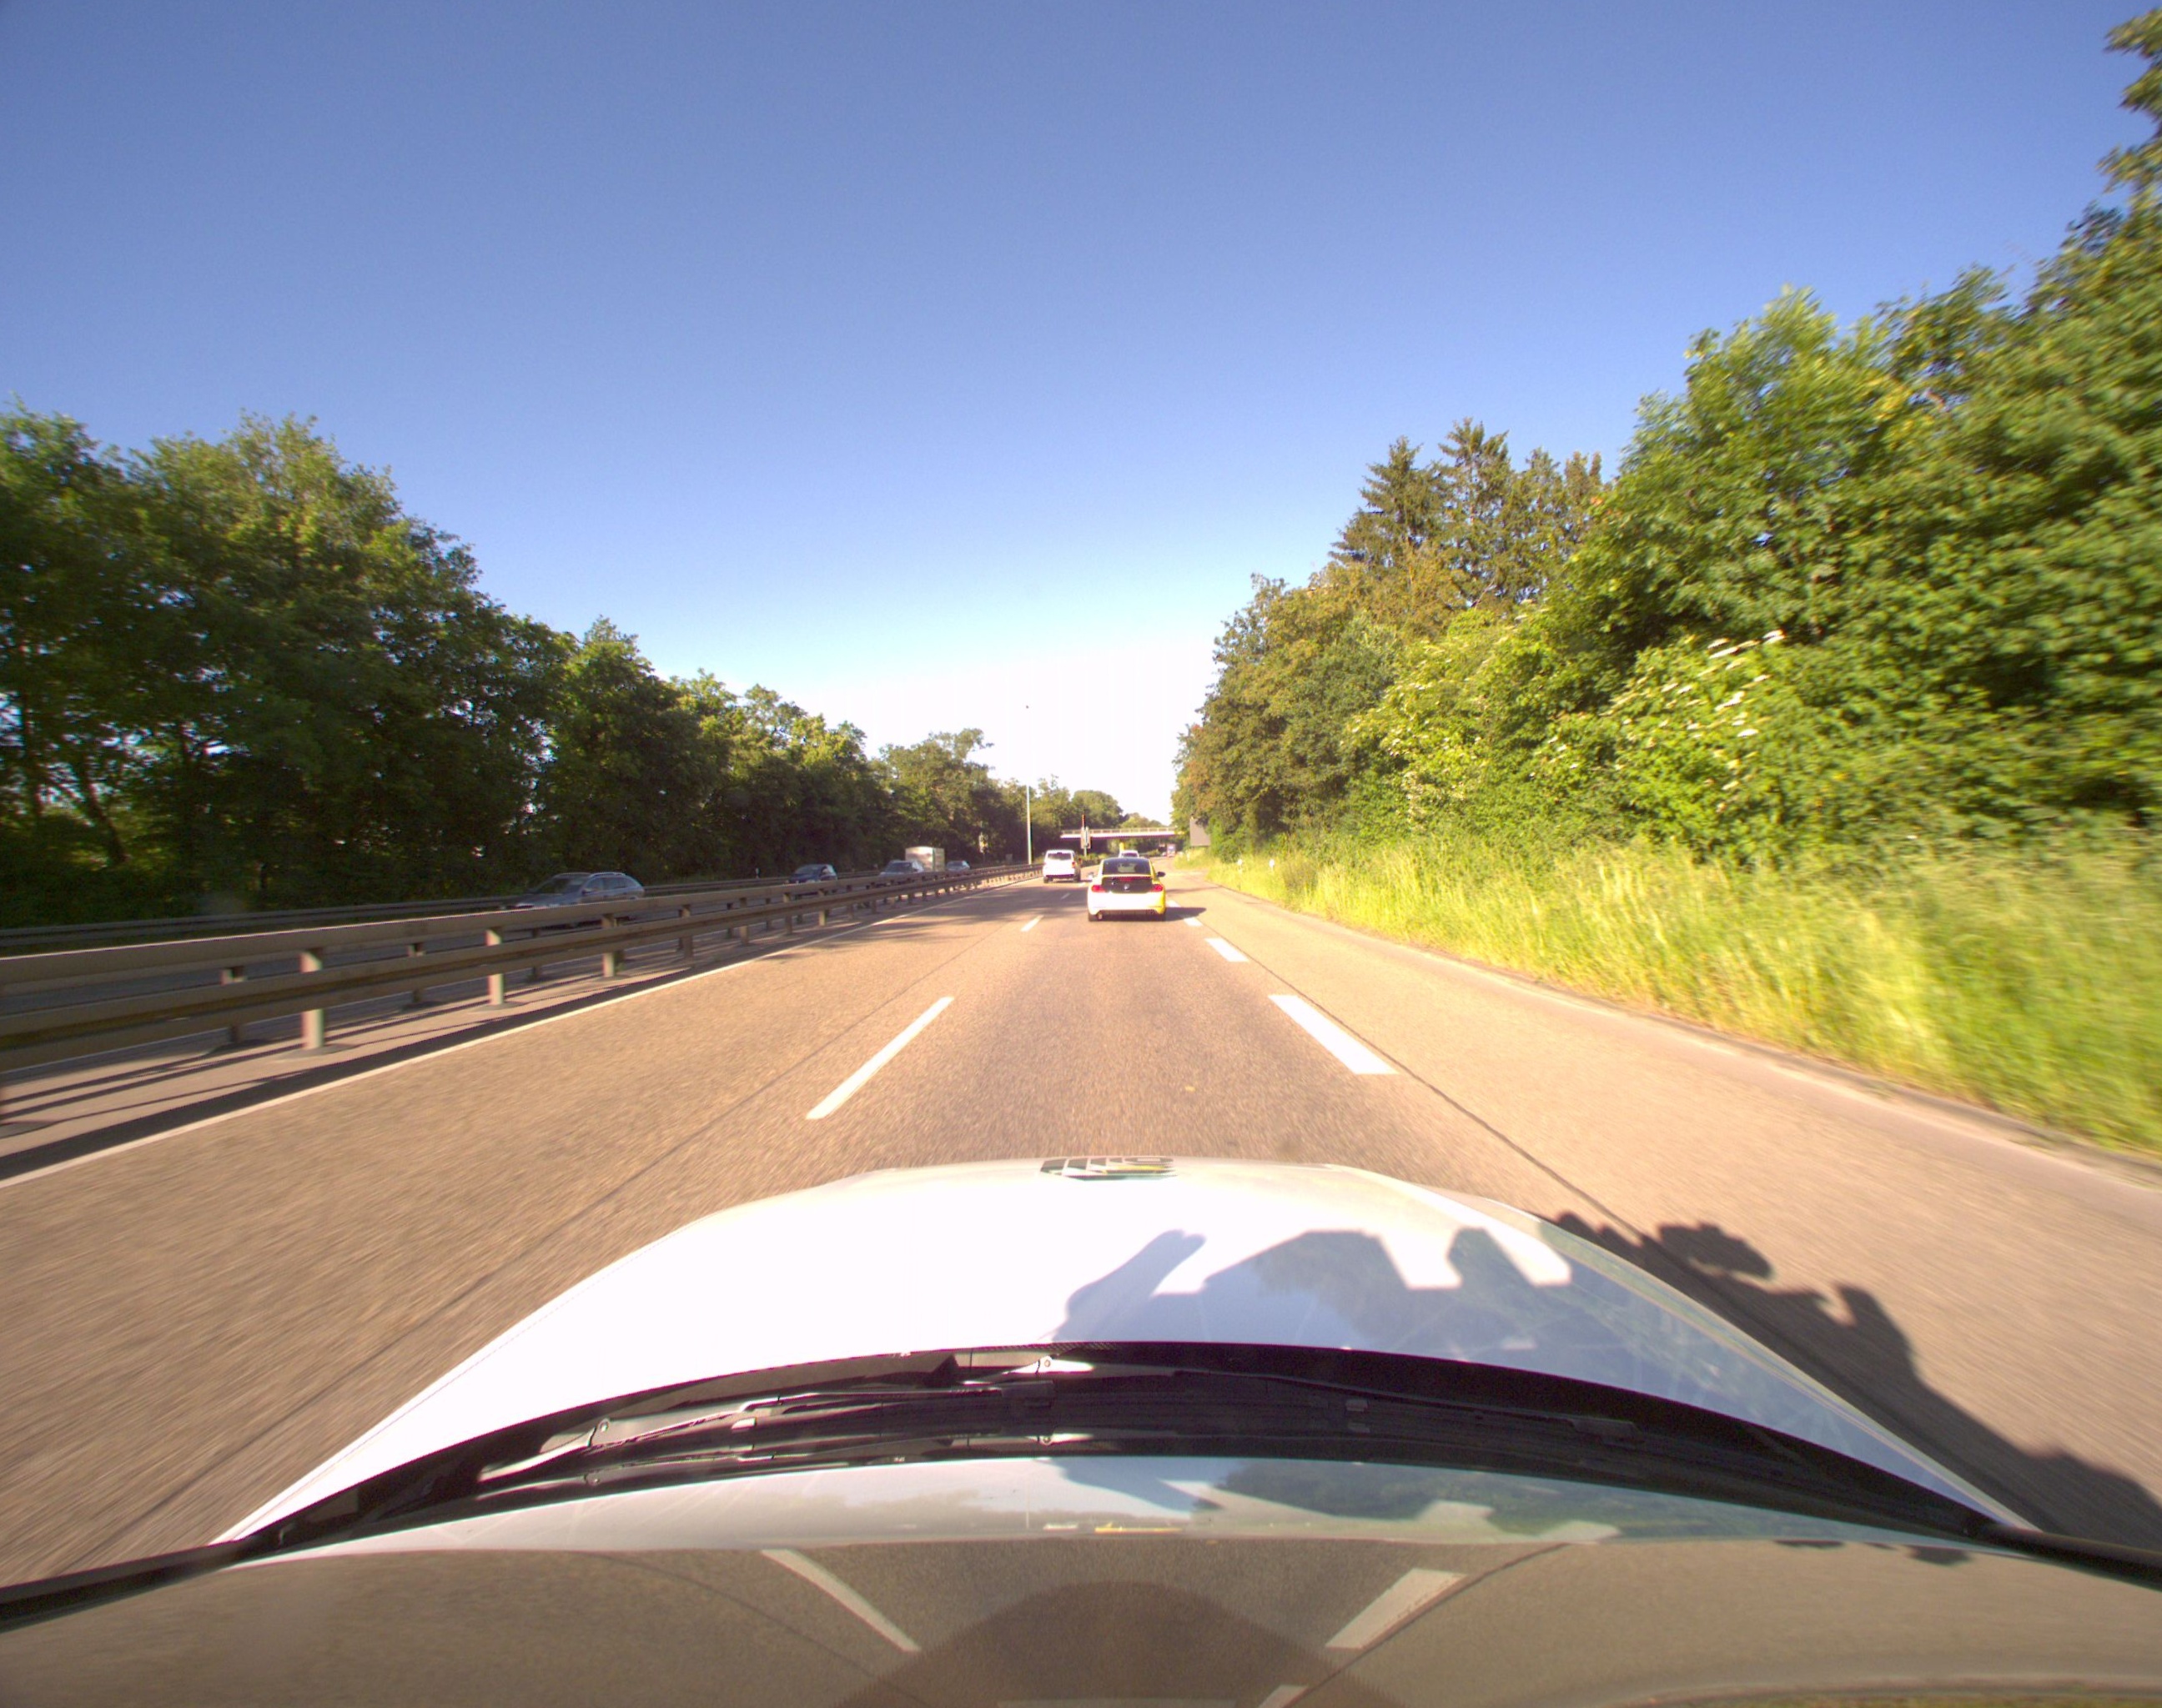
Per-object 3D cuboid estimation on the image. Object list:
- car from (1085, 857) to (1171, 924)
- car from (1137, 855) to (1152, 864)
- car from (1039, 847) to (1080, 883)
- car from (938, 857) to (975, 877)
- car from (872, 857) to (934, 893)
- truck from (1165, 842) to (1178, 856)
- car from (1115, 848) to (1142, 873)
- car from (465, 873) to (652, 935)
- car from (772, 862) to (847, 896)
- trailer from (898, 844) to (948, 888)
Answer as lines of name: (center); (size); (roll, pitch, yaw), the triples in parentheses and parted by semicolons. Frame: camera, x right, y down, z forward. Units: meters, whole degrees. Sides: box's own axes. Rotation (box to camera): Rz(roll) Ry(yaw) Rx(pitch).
car: (1.049, 0.801, 20.046); (1.873, 1.461, 4.356); (0, 0, 0)
car: (9.926, 0.846, 127.271); (1.982, 1.398, 4.010); (-1, 0, 9)
car: (-1.138, 0.577, 45.087); (2.078, 1.828, 3.999); (-2, 0, 0)
car: (-11.279, 1.113, 74.127); (2.110, 1.725, 5.881); (-1, 0, 3)
car: (-9.388, 1.063, 43.323); (2.064, 1.748, 5.224); (-2, 0, 0)
truck: (28.414, -1.445, 255.992); (3.475, 4.173, 8.883); (-2, 0, 9)
car: (3.525, 0.484, 60.836); (1.856, 1.770, 4.472); (-2, 0, 2)
car: (-14.790, 1.342, 23.502); (2.064, 1.467, 4.987); (-1, 0, 1)
car: (-14.048, 1.234, 42.450); (2.064, 1.614, 5.060); (-1, 0, 1)
trailer: (-9.261, 0.665, 48.225); (1.987, 2.437, 4.606); (-2, 0, 0)
